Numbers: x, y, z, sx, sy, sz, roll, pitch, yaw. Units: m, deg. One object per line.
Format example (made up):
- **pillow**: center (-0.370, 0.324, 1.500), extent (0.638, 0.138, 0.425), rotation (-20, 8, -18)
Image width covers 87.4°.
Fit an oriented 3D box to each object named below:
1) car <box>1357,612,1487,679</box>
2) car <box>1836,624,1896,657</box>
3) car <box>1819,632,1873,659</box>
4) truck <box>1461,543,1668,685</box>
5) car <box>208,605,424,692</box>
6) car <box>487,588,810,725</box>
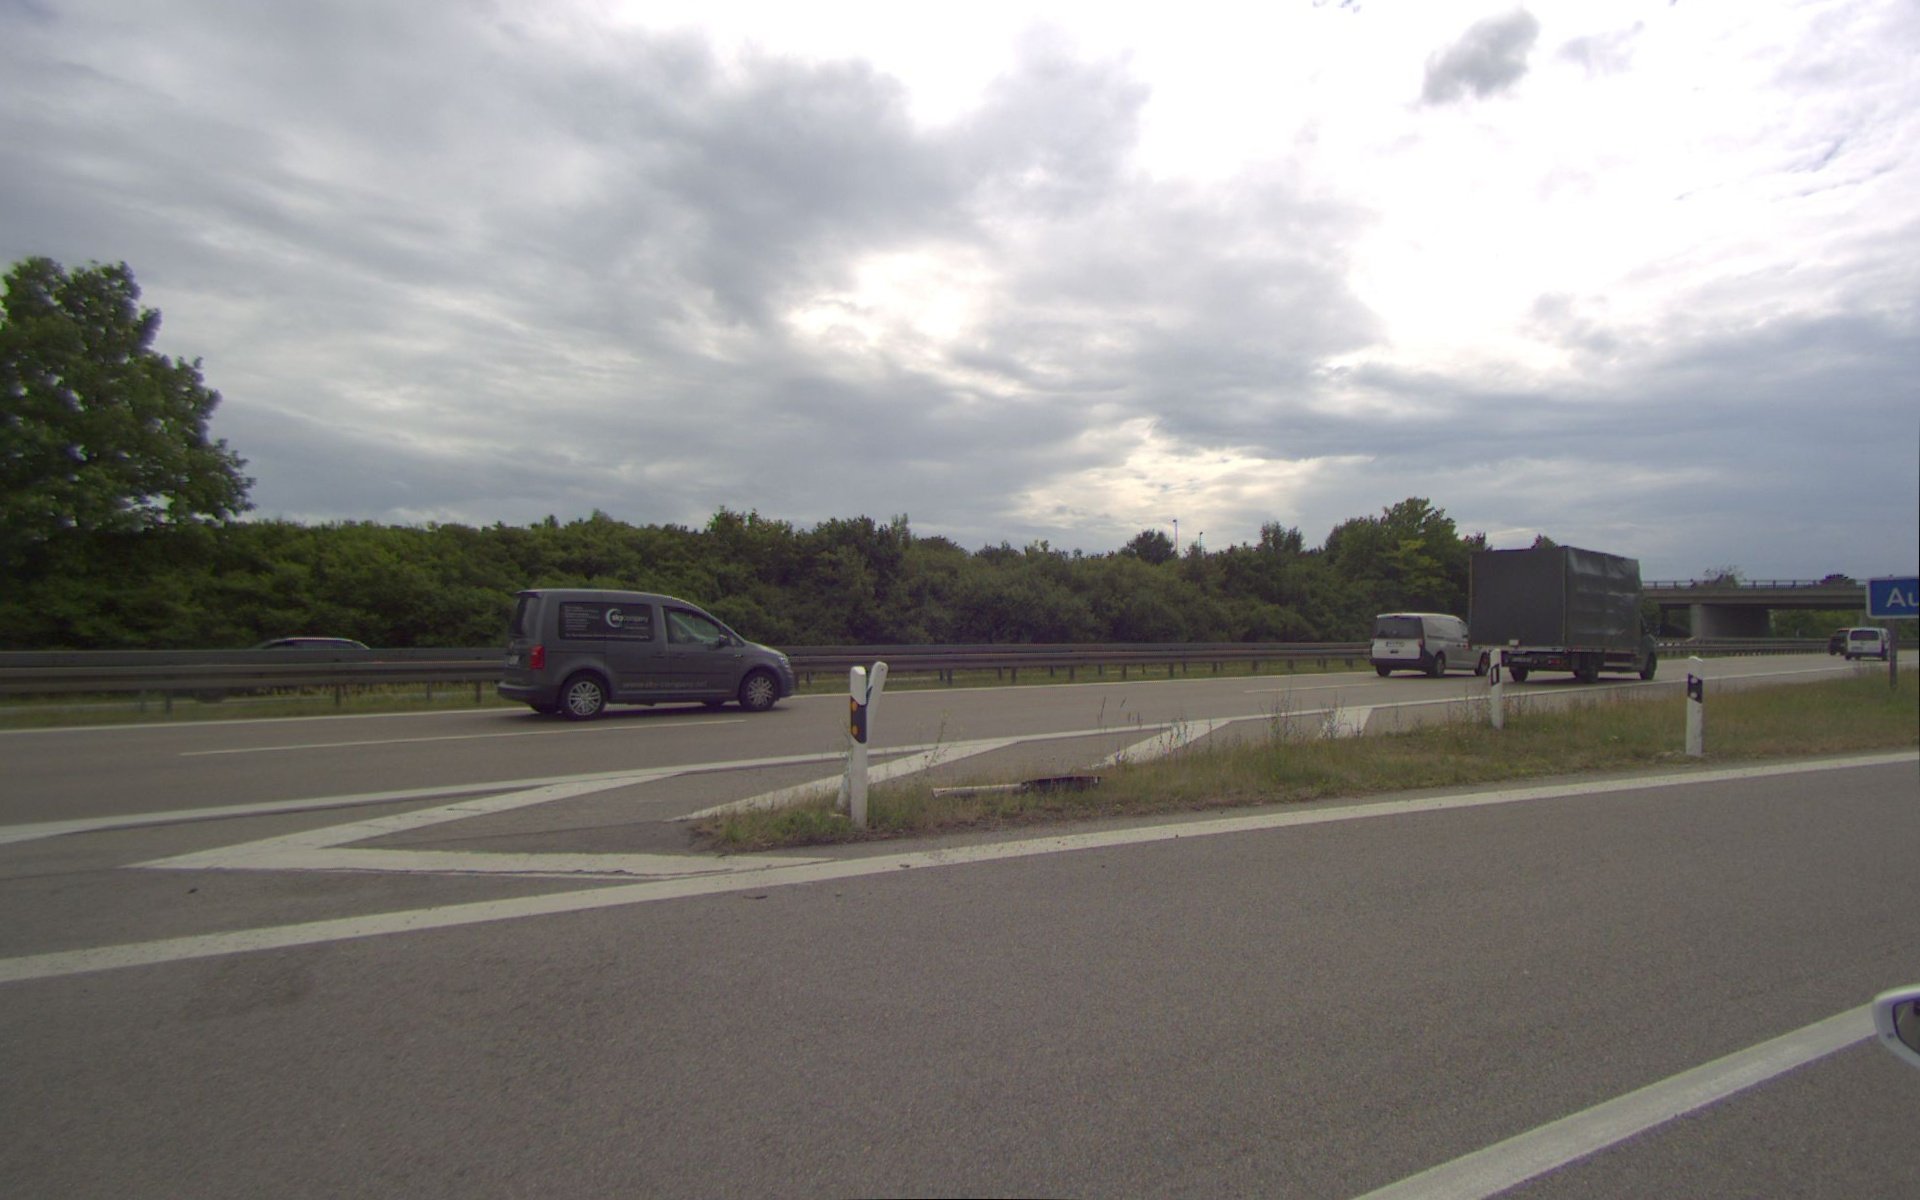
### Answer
- **car**: center (13.747, 1.328, 29.808), extent (3.966, 1.834, 1.978), rotation (2, -2, -39)
- **car**: center (51.212, 2.280, 56.757), extent (4.448, 1.774, 1.862), rotation (2, -2, -39)
- **car**: center (61.717, 3.151, 69.907), extent (5.366, 1.809, 1.978), rotation (2, -2, -39)
- **truck**: center (16.827, 0.489, 27.706), extent (7.858, 3.415, 2.447), rotation (2, -3, -40)
- **car**: center (-14.761, 1.079, 23.108), extent (3.967, 1.826, 1.977), rotation (2, -2, -40)
- **car**: center (-4.589, 0.804, 15.149), extent (4.301, 1.782, 1.830), rotation (2, -2, -40)
